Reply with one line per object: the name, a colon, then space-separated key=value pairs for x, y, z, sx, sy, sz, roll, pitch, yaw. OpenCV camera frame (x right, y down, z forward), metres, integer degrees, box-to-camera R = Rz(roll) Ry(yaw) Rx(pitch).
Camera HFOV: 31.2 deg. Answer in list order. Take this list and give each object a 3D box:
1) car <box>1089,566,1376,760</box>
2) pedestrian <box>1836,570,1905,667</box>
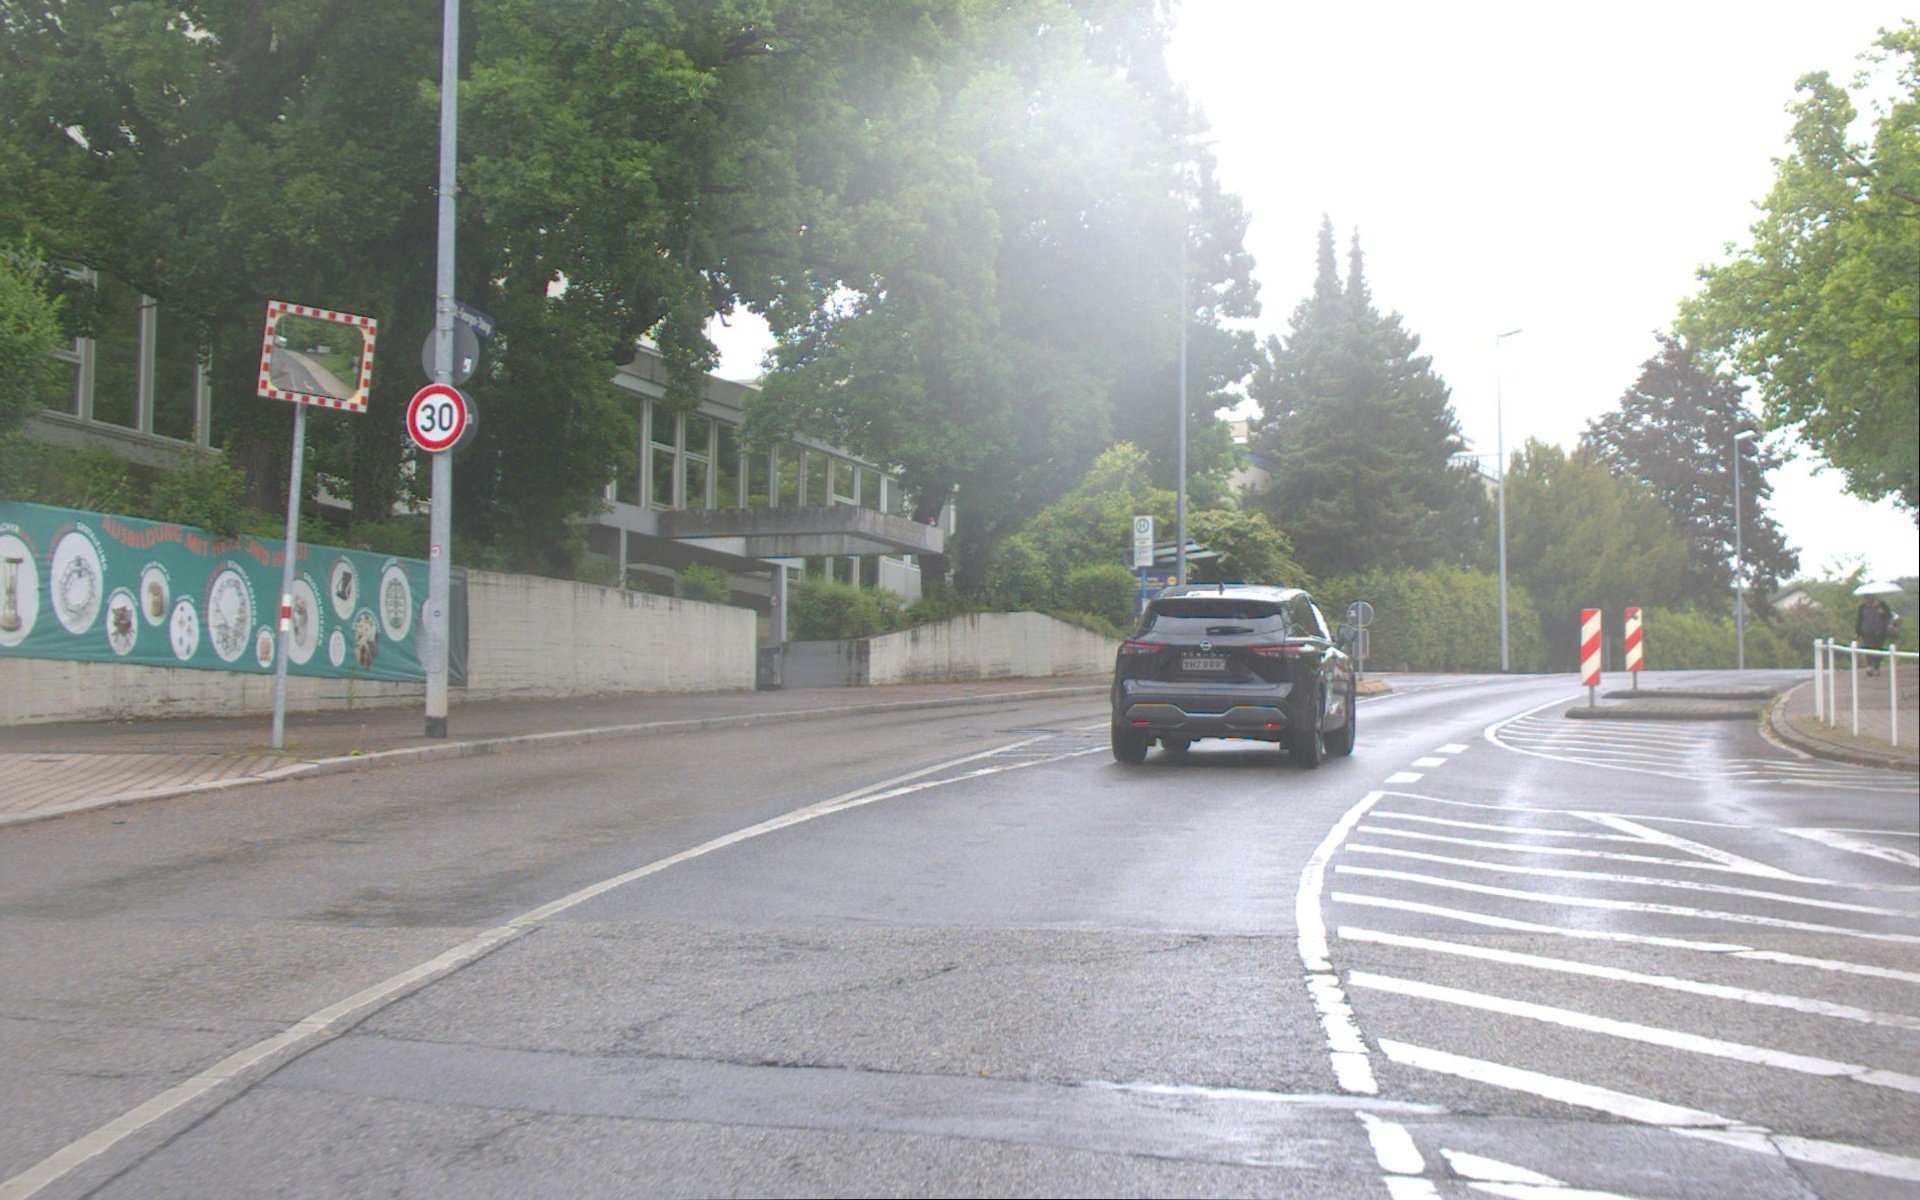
car: x=2.564 y=0.528 z=31.484 sx=1.929 sy=1.607 sz=3.997 roll=2 pitch=1 yaw=14
pedestrian: x=16.735 y=0.336 z=63.188 sx=1.084 sy=1.716 sz=1.165 roll=-3 pitch=-1 yaw=12
